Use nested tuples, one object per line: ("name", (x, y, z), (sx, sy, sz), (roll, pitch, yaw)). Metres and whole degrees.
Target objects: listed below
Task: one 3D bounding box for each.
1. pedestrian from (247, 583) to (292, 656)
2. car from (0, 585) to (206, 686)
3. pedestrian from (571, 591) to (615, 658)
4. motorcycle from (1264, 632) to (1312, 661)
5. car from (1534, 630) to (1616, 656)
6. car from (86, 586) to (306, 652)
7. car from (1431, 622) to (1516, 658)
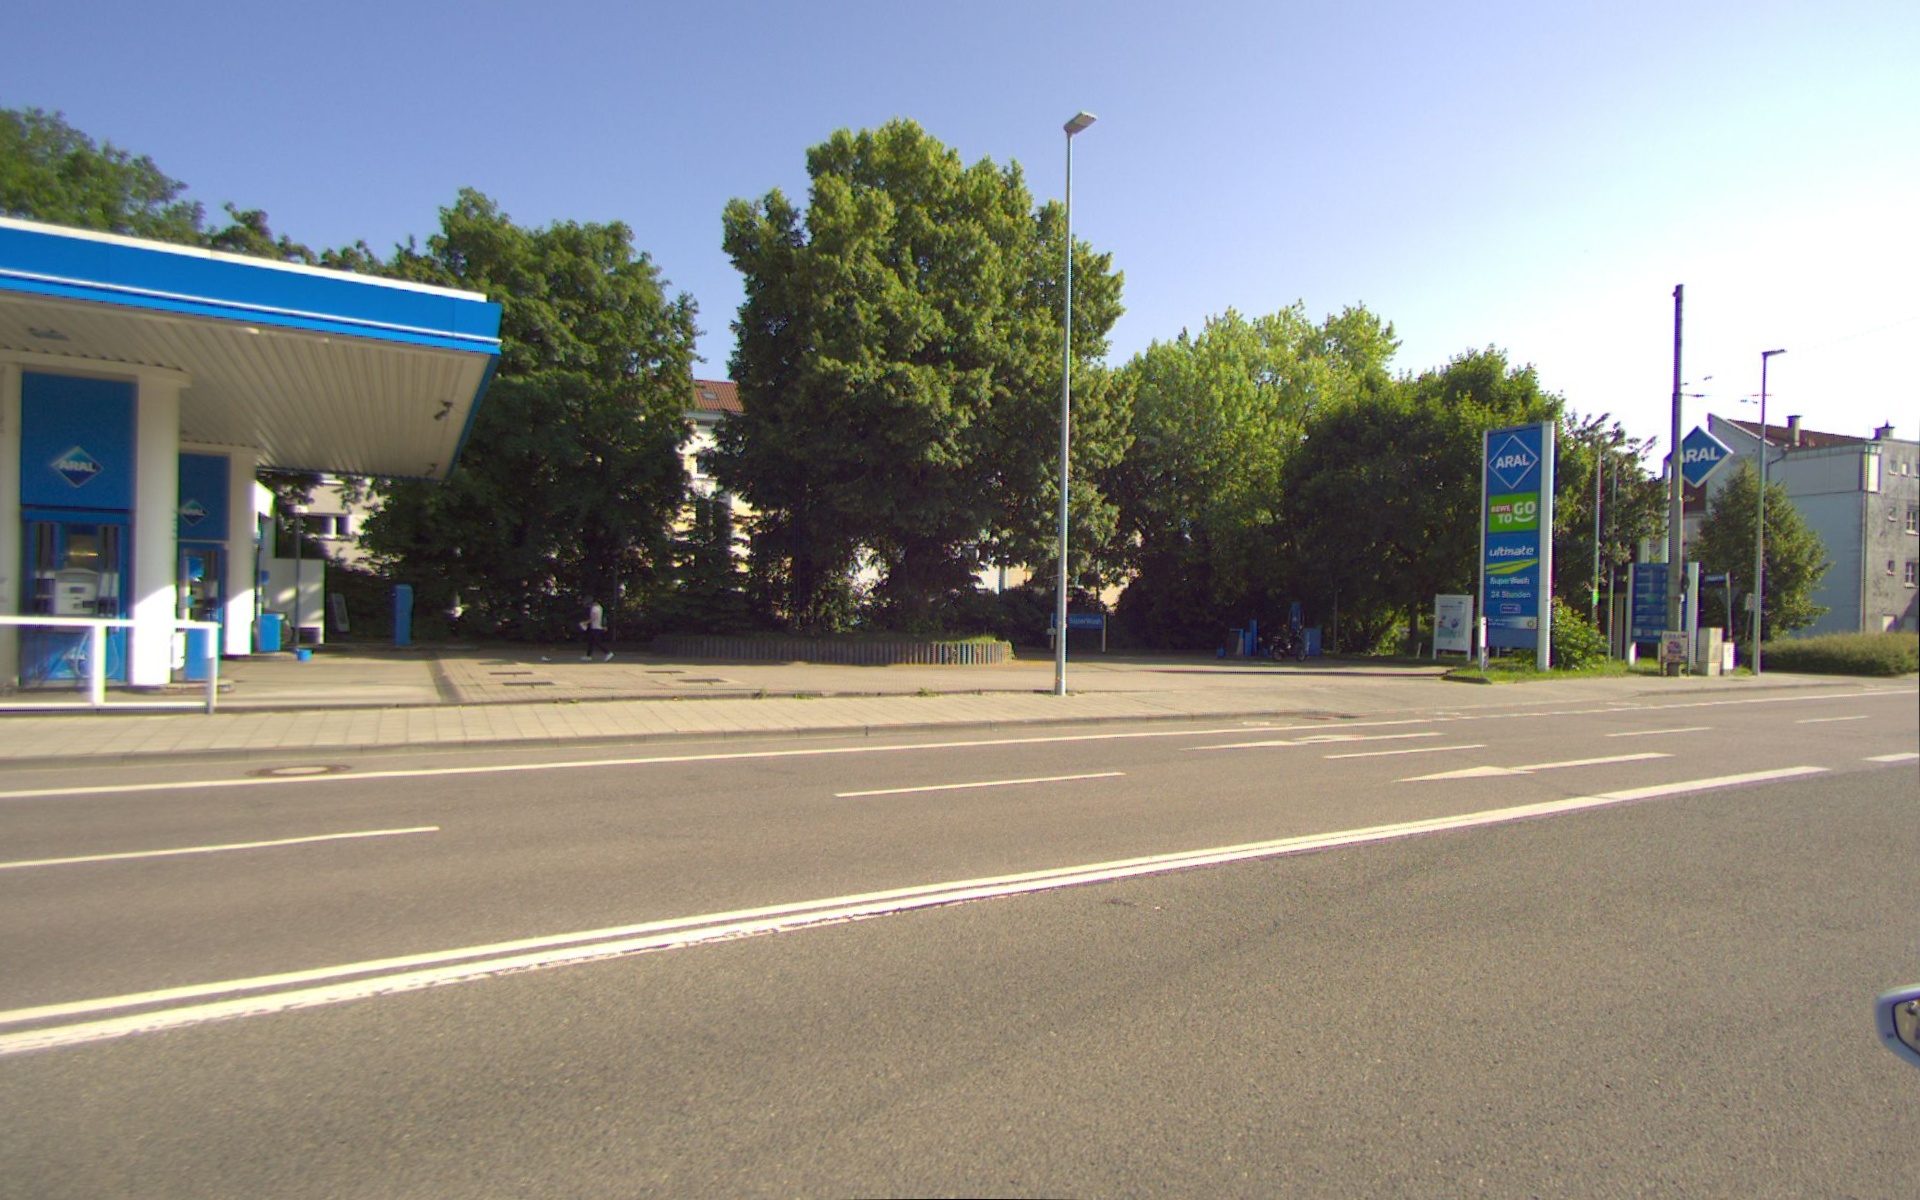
("pedestrian", (-16.746, 0.471, 24.377), (0.786, 1.713, 0.812), (1, -1, -31))
("car", (-14.590, 0.529, 15.713), (4.224, 1.510, 1.728), (2, -1, -30))
("pedestrian", (-9.843, 0.656, 26.964), (1.050, 1.735, 0.820), (1, 0, -20))
("motorcycle", (11.704, 1.657, 35.834), (1.883, 0.995, 0.514), (2, 0, -31))
("car", (34.478, 2.404, 56.412), (1.716, 1.285, 3.781), (2, -1, -17))
("car", (-18.317, 0.471, 24.319), (3.950, 1.465, 1.730), (2, -1, -28))
("car", (27.389, 2.103, 53.702), (1.744, 1.719, 3.987), (4, -1, -15))
